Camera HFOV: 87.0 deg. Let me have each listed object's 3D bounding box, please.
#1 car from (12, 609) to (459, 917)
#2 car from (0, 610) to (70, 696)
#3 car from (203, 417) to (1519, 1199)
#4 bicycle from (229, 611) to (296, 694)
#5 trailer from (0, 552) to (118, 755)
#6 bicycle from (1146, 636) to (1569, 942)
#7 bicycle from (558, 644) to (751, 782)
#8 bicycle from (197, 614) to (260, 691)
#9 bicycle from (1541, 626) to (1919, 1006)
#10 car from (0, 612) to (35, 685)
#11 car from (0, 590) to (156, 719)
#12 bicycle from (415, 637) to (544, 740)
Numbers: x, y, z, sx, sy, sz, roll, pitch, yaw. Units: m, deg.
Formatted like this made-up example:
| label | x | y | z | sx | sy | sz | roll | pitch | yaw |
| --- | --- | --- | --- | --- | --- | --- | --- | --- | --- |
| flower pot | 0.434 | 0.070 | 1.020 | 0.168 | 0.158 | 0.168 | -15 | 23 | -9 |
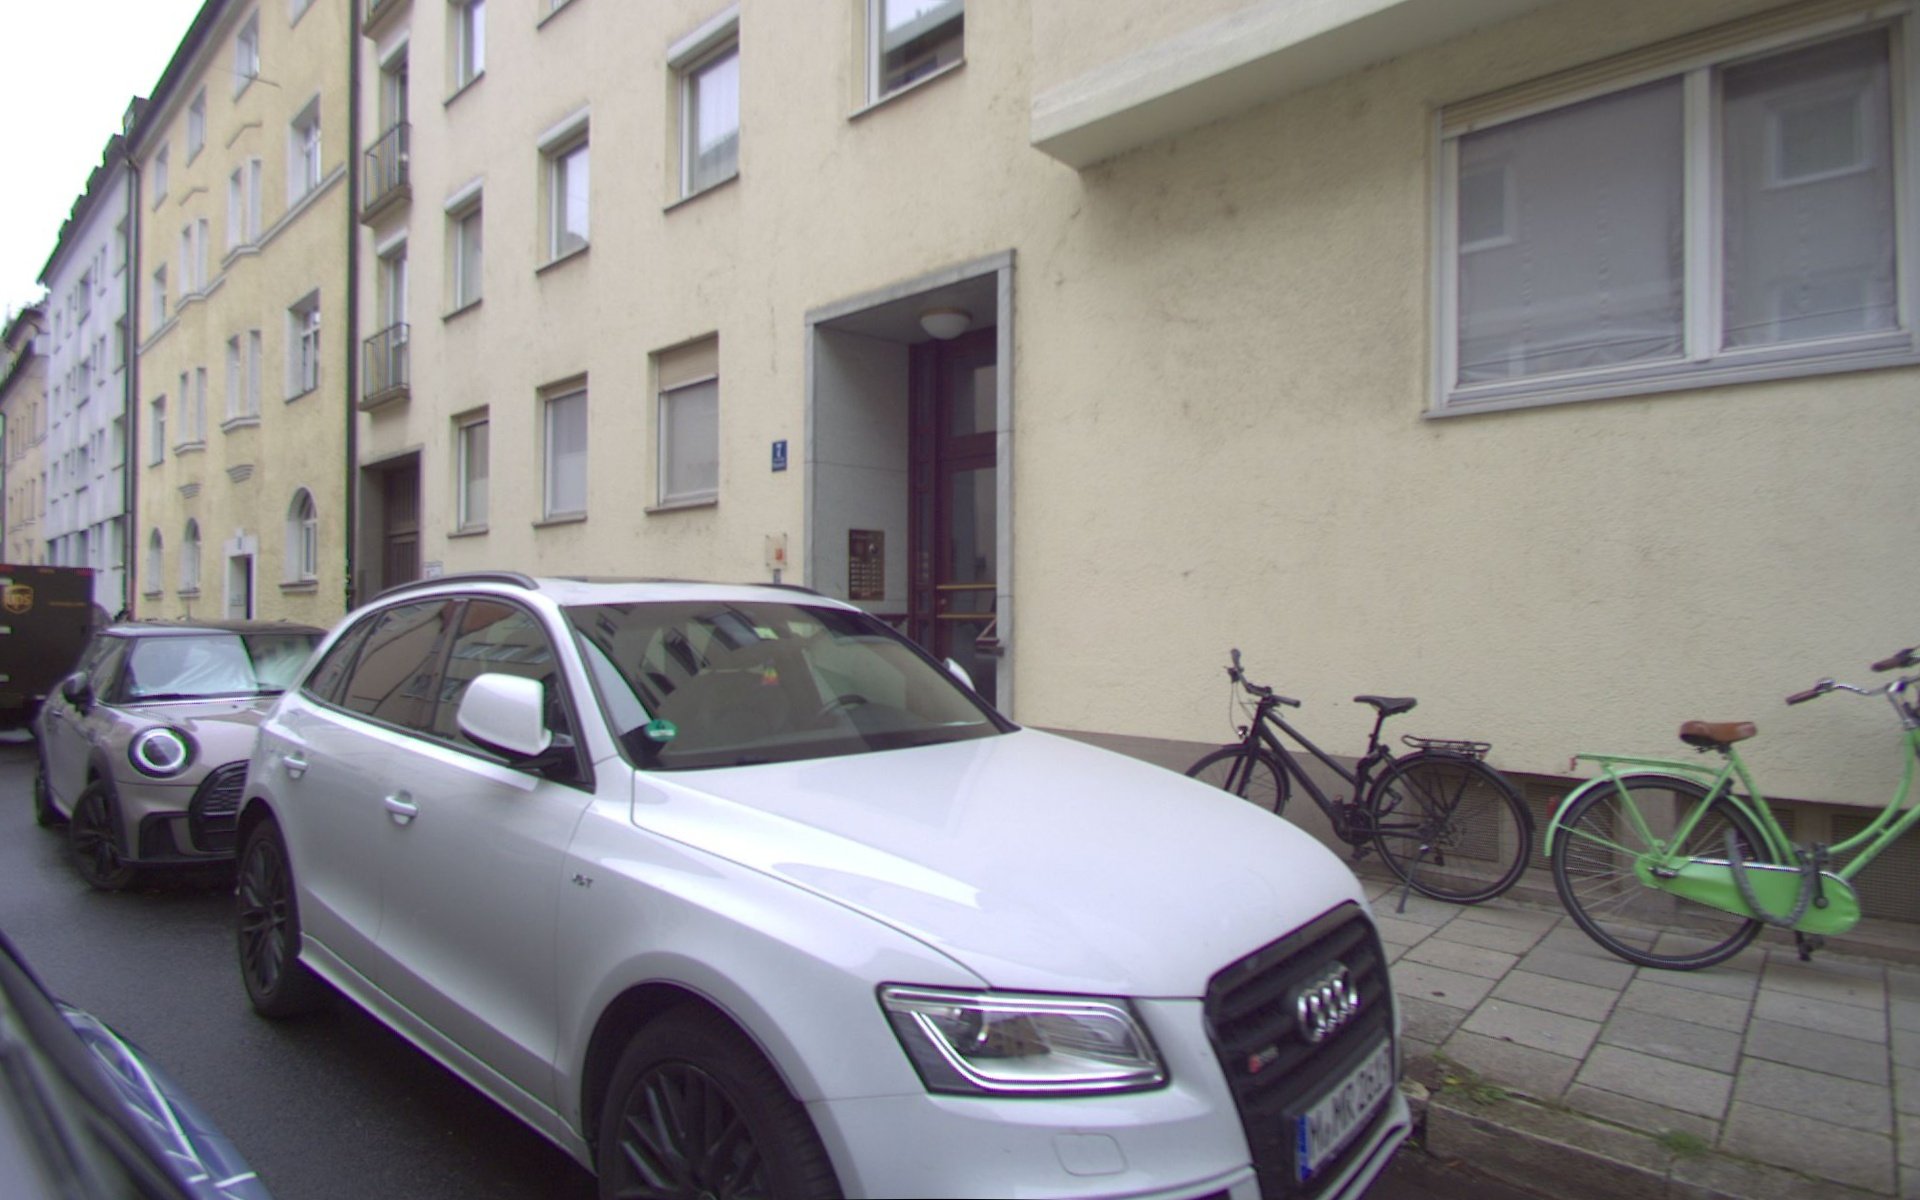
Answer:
| label | x | y | z | sx | sy | sz | roll | pitch | yaw |
| --- | --- | --- | --- | --- | --- | --- | --- | --- | --- |
| car | -4.925 | 0.797 | 6.673 | 3.802 | 1.446 | 1.634 | 0 | -2 | 43 |
| car | -17.605 | 0.925 | 18.603 | 3.476 | 1.471 | 1.545 | 0 | -2 | 44 |
| car | -0.825 | 0.660 | 3.285 | 4.366 | 1.688 | 1.747 | 0 | -2 | 42 |
| bicycle | -11.673 | 0.855 | 16.924 | 1.551 | 1.288 | 0.529 | 1 | 2 | 41 |
| trailer | -11.492 | 0.562 | 11.654 | 3.294 | 2.132 | 1.350 | 0 | 0 | 21 |
| bicycle | 1.816 | 0.779 | 4.823 | 1.789 | 1.170 | 0.575 | 0 | -3 | 43 |
| bicycle | -2.678 | 0.918 | 8.772 | 1.812 | 1.035 | 0.723 | -1 | -1 | 40 |
| bicycle | -13.060 | 0.905 | 18.055 | 1.551 | 1.288 | 0.529 | 0 | 2 | 41 |
| bicycle | 3.104 | 0.695 | 3.520 | 1.789 | 1.170 | 0.638 | 0 | -3 | 43 |
| car | -21.178 | 0.999 | 21.690 | 3.762 | 1.471 | 1.546 | 0 | -2 | 41 |
| car | -13.544 | 0.732 | 15.068 | 4.416 | 1.672 | 1.858 | 0 | -2 | 44 |
| bicycle | -5.416 | 0.947 | 11.350 | 1.813 | 1.035 | 0.687 | -1 | -1 | 43 |
